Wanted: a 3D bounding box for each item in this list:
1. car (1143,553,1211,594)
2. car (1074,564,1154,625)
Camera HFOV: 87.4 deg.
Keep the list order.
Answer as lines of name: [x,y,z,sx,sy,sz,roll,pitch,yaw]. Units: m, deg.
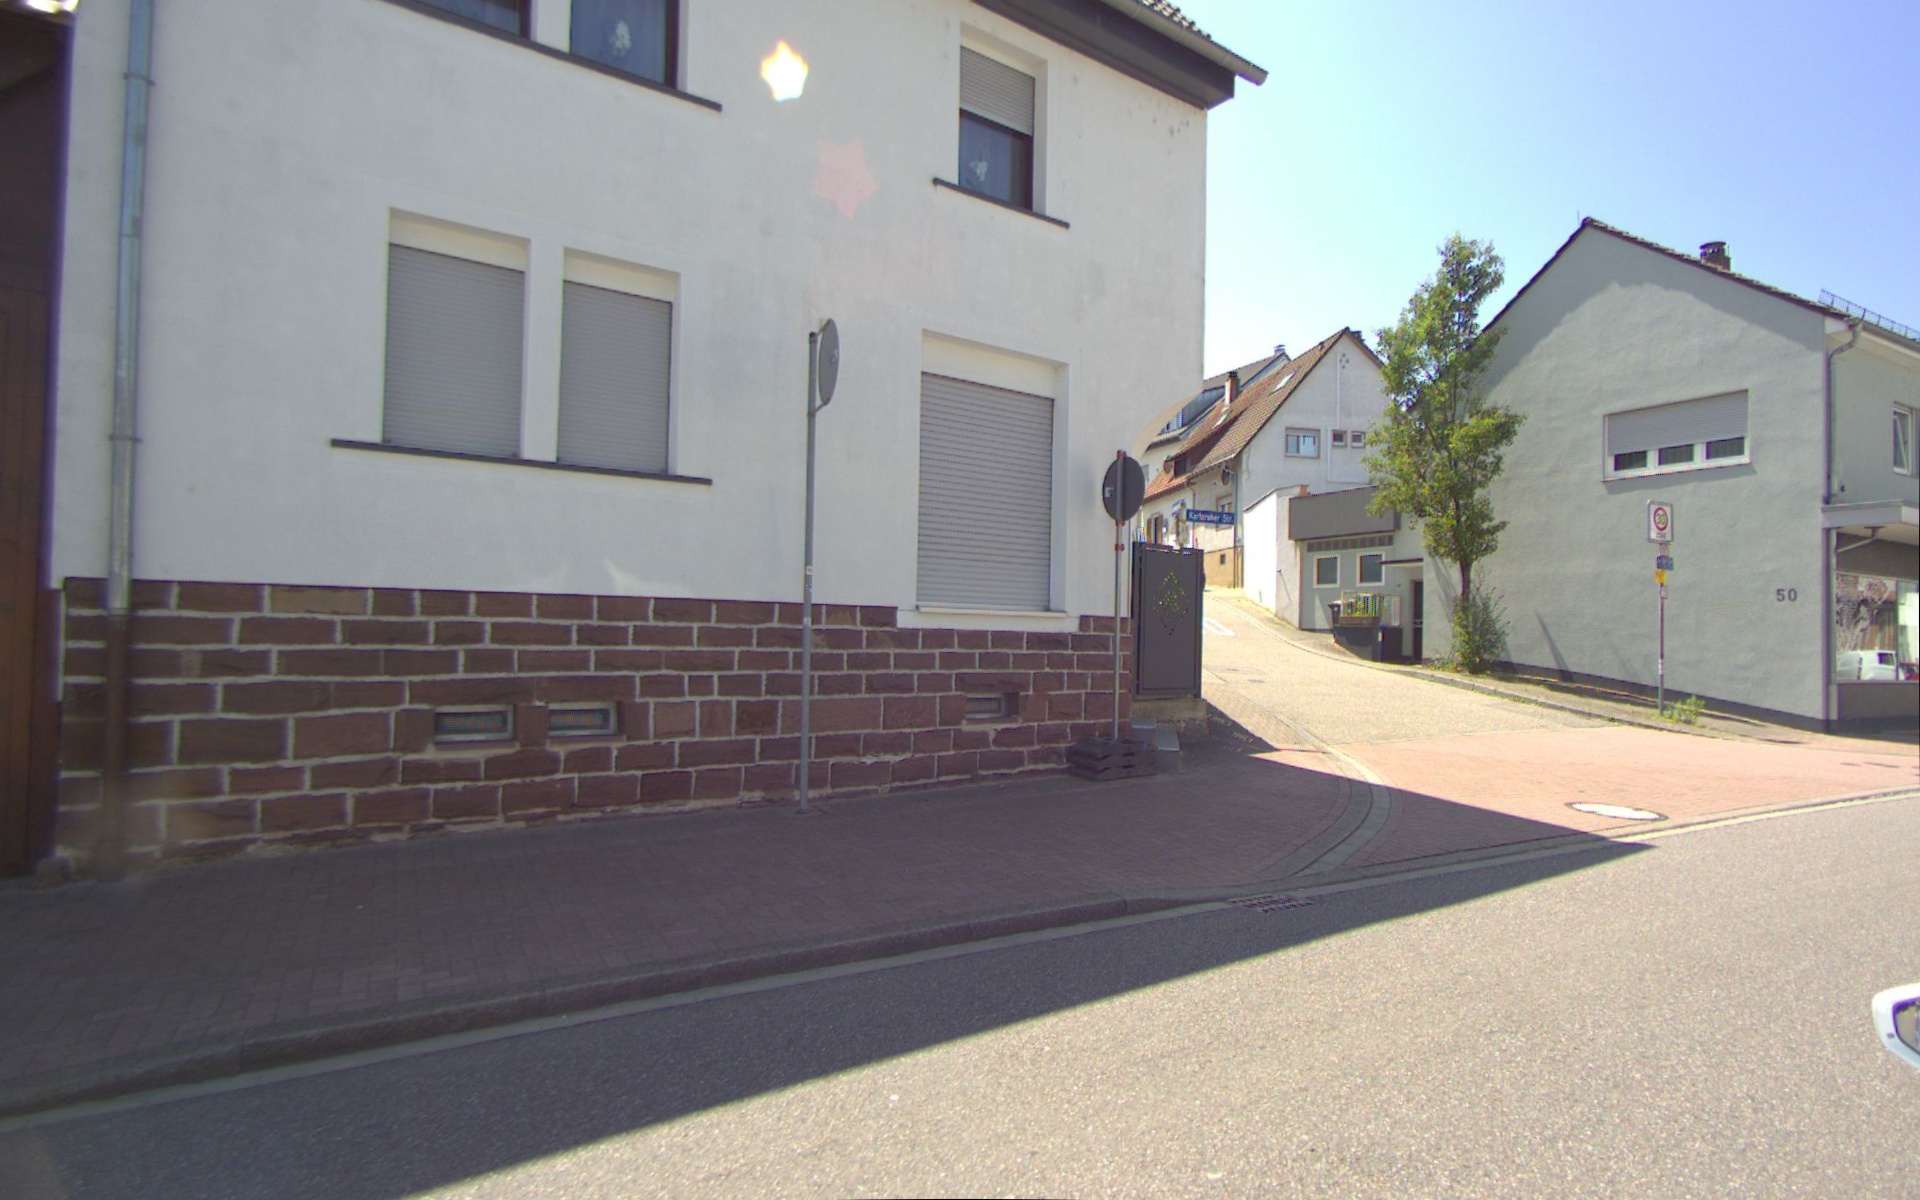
car: [9.182,-1.165,42.805,1.651,1.519,3.809,2,4,-6]
car: [4.537,-0.211,30.100,1.809,1.426,3.921,3,5,1]
